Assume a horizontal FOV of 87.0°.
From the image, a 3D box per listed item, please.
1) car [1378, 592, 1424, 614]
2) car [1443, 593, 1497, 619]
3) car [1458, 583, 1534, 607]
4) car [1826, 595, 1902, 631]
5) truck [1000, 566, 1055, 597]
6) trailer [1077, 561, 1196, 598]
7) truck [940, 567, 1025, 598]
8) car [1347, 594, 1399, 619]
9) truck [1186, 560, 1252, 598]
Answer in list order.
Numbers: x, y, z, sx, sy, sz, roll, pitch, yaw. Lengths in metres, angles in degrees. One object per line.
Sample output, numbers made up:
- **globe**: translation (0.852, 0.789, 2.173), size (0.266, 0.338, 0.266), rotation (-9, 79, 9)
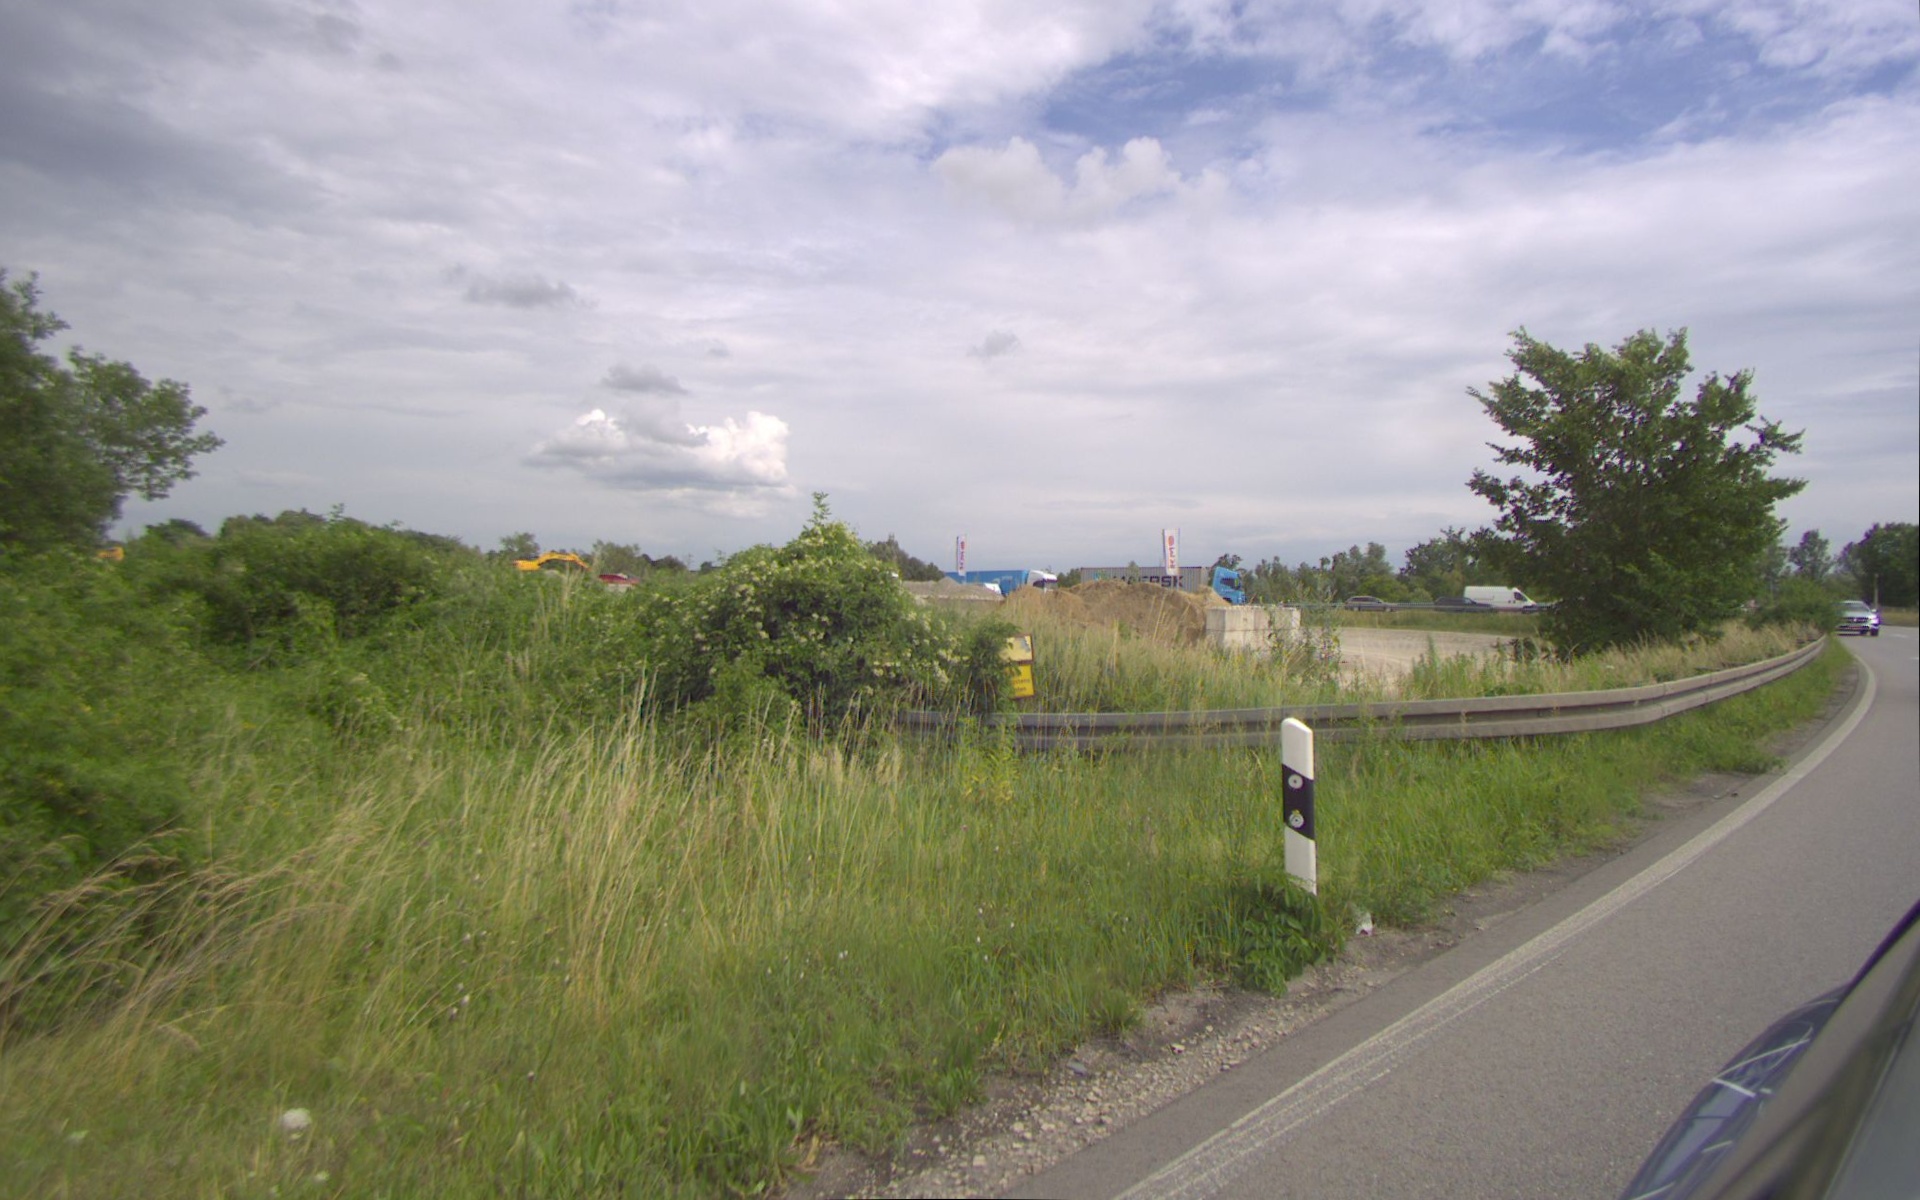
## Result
- **car**: translation (42.141, 0.256, 96.684), size (3.963, 2.039, 1.912), rotation (0, -1, 28)
- **car**: translation (42.117, 0.517, 83.604), size (3.963, 2.039, 1.912), rotation (1, 0, 28)
- **car**: translation (47.289, -0.441, 89.397), size (5.843, 2.039, 2.041), rotation (0, -1, 29)
- **car**: translation (42.540, 0.602, 47.711), size (2.007, 1.633, 4.229), rotation (0, -1, 33)
- **truck**: translation (7.152, -1.955, 107.317), size (2.349, 3.093, 5.977), rotation (1, -1, -40)
- **trailer**: translation (16.731, -1.882, 96.552), size (11.137, 3.352, 2.366), rotation (0, -1, 31)
- **truck**: translation (2.397, -1.887, 113.020), size (2.349, 3.093, 11.741), rotation (1, -1, -40)
- **car**: translation (35.691, 0.561, 87.468), size (3.963, 2.039, 1.912), rotation (1, 0, 28)
- **truck**: translation (23.707, -1.898, 92.610), size (5.541, 3.347, 2.369), rotation (0, -1, 27)
